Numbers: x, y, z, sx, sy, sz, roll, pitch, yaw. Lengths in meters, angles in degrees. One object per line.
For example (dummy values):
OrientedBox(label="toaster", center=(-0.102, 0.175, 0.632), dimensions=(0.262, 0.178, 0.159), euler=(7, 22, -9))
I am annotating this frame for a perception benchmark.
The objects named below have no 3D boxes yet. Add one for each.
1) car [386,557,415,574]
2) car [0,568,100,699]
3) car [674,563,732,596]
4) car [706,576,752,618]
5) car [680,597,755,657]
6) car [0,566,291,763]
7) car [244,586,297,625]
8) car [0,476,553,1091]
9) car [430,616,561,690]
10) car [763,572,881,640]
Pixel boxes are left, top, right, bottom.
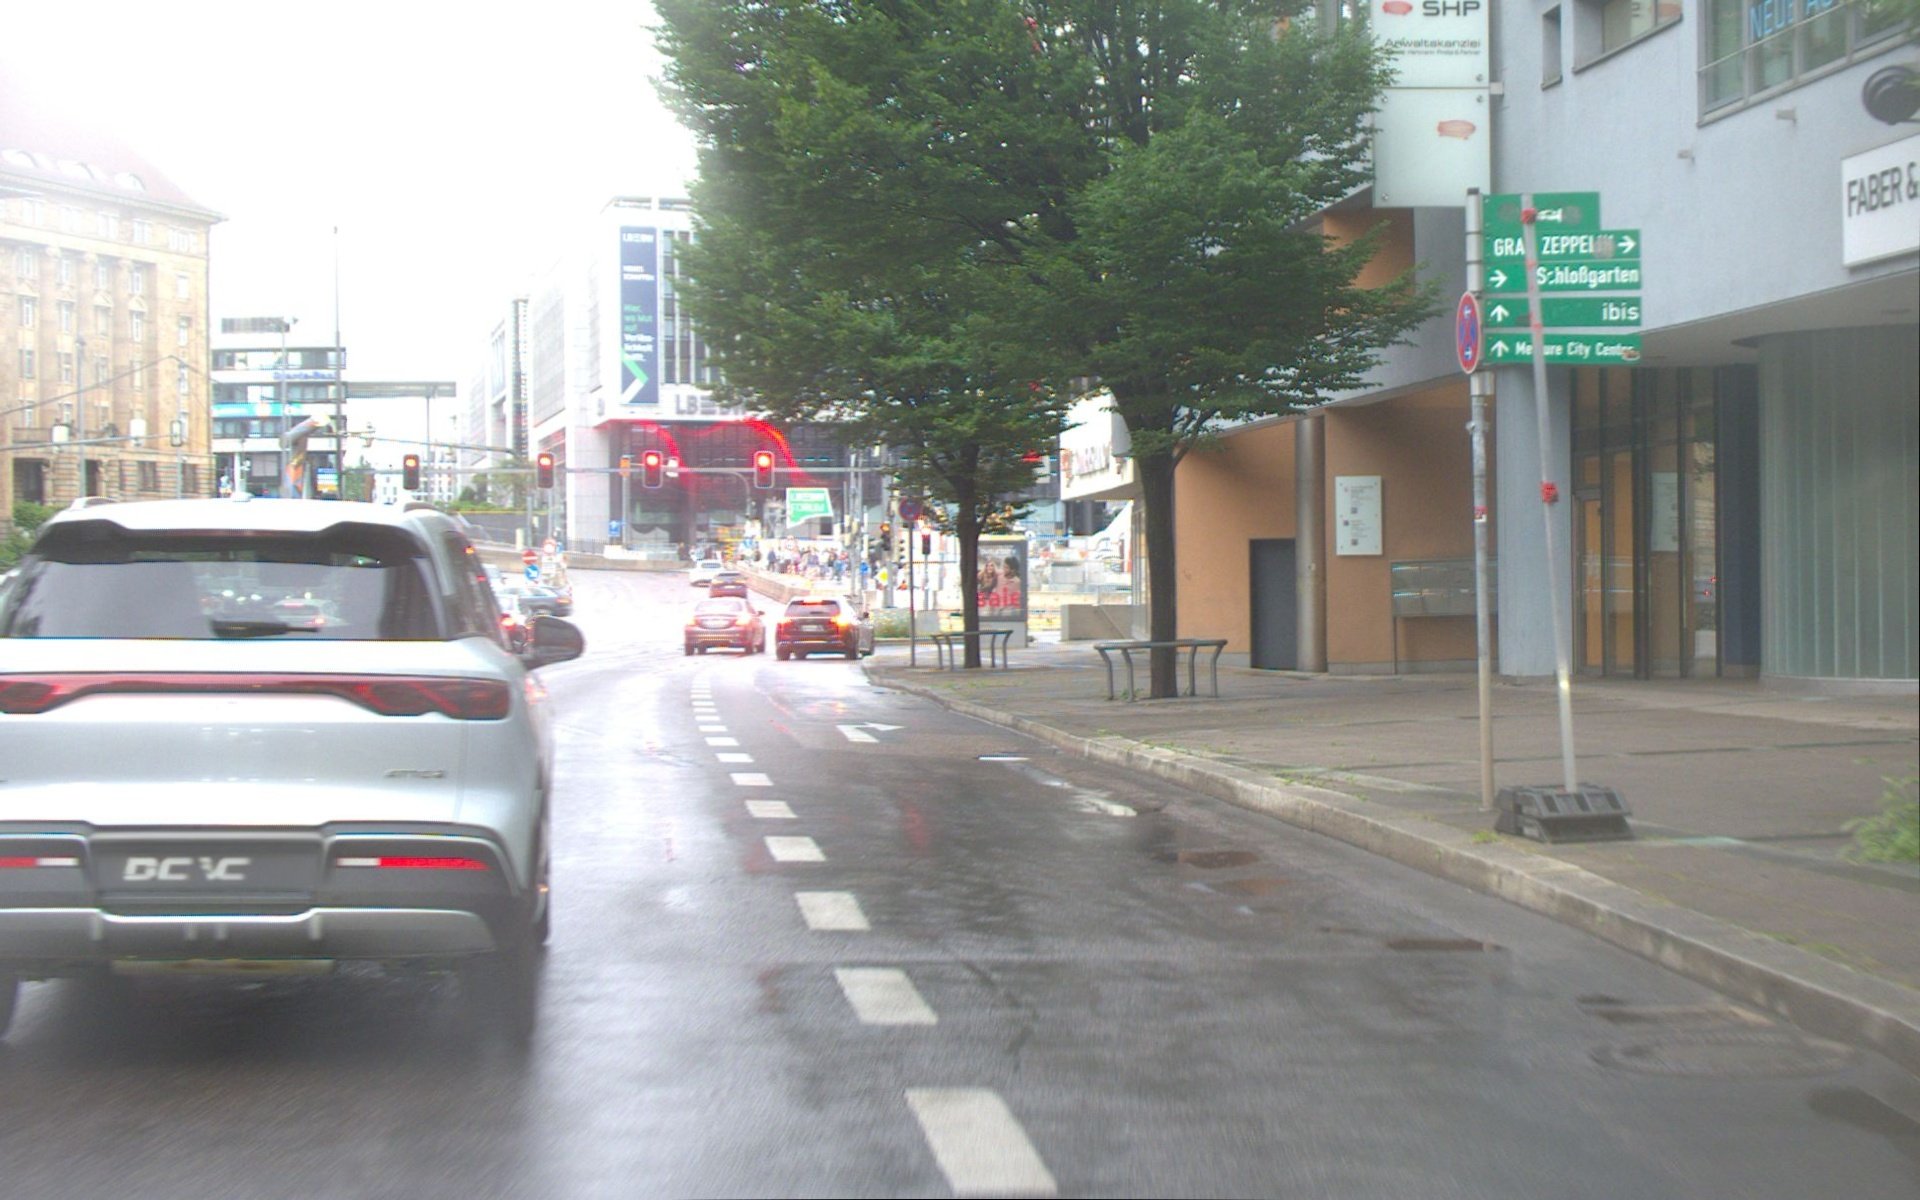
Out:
OrientedBox(label="car", center=(-41.801, -2.564, 256.934), dimensions=(1.767, 1.256, 4.194), euler=(0, 0, -4))
OrientedBox(label="car", center=(-12.057, 0.419, 44.123), dimensions=(1.732, 1.610, 4.001), euler=(0, 0, -11))
OrientedBox(label="car", center=(-14.572, -1.133, 194.571), dimensions=(1.993, 1.810, 4.001), euler=(0, 0, -24))
OrientedBox(label="car", center=(-11.193, -0.124, 166.499), dimensions=(1.993, 2.007, 4.001), euler=(0, 0, -7))
OrientedBox(label="car", center=(-6.291, 0.682, 89.525), dimensions=(1.783, 1.397, 4.487), euler=(0, 2, -2))
OrientedBox(label="car", center=(-6.492, 0.467, 26.702), dimensions=(1.733, 1.399, 4.383), euler=(0, 0, 0))
OrientedBox(label="car", center=(-28.307, 0.226, 141.193), dimensions=(1.801, 1.569, 4.075), euler=(0, 0, -6))
OrientedBox(label="car", center=(-2.267, 0.505, 11.397), dimensions=(1.808, 1.655, 4.171), euler=(0, 0, -7))
OrientedBox(label="car", center=(-9.816, 1.106, 73.002), dimensions=(1.887, 1.509, 5.002), euler=(0, 0, 2))
OrientedBox(label="car", center=(-3.187, 0.146, 80.013), dimensions=(1.892, 1.539, 3.991), euler=(0, 0, 11))
